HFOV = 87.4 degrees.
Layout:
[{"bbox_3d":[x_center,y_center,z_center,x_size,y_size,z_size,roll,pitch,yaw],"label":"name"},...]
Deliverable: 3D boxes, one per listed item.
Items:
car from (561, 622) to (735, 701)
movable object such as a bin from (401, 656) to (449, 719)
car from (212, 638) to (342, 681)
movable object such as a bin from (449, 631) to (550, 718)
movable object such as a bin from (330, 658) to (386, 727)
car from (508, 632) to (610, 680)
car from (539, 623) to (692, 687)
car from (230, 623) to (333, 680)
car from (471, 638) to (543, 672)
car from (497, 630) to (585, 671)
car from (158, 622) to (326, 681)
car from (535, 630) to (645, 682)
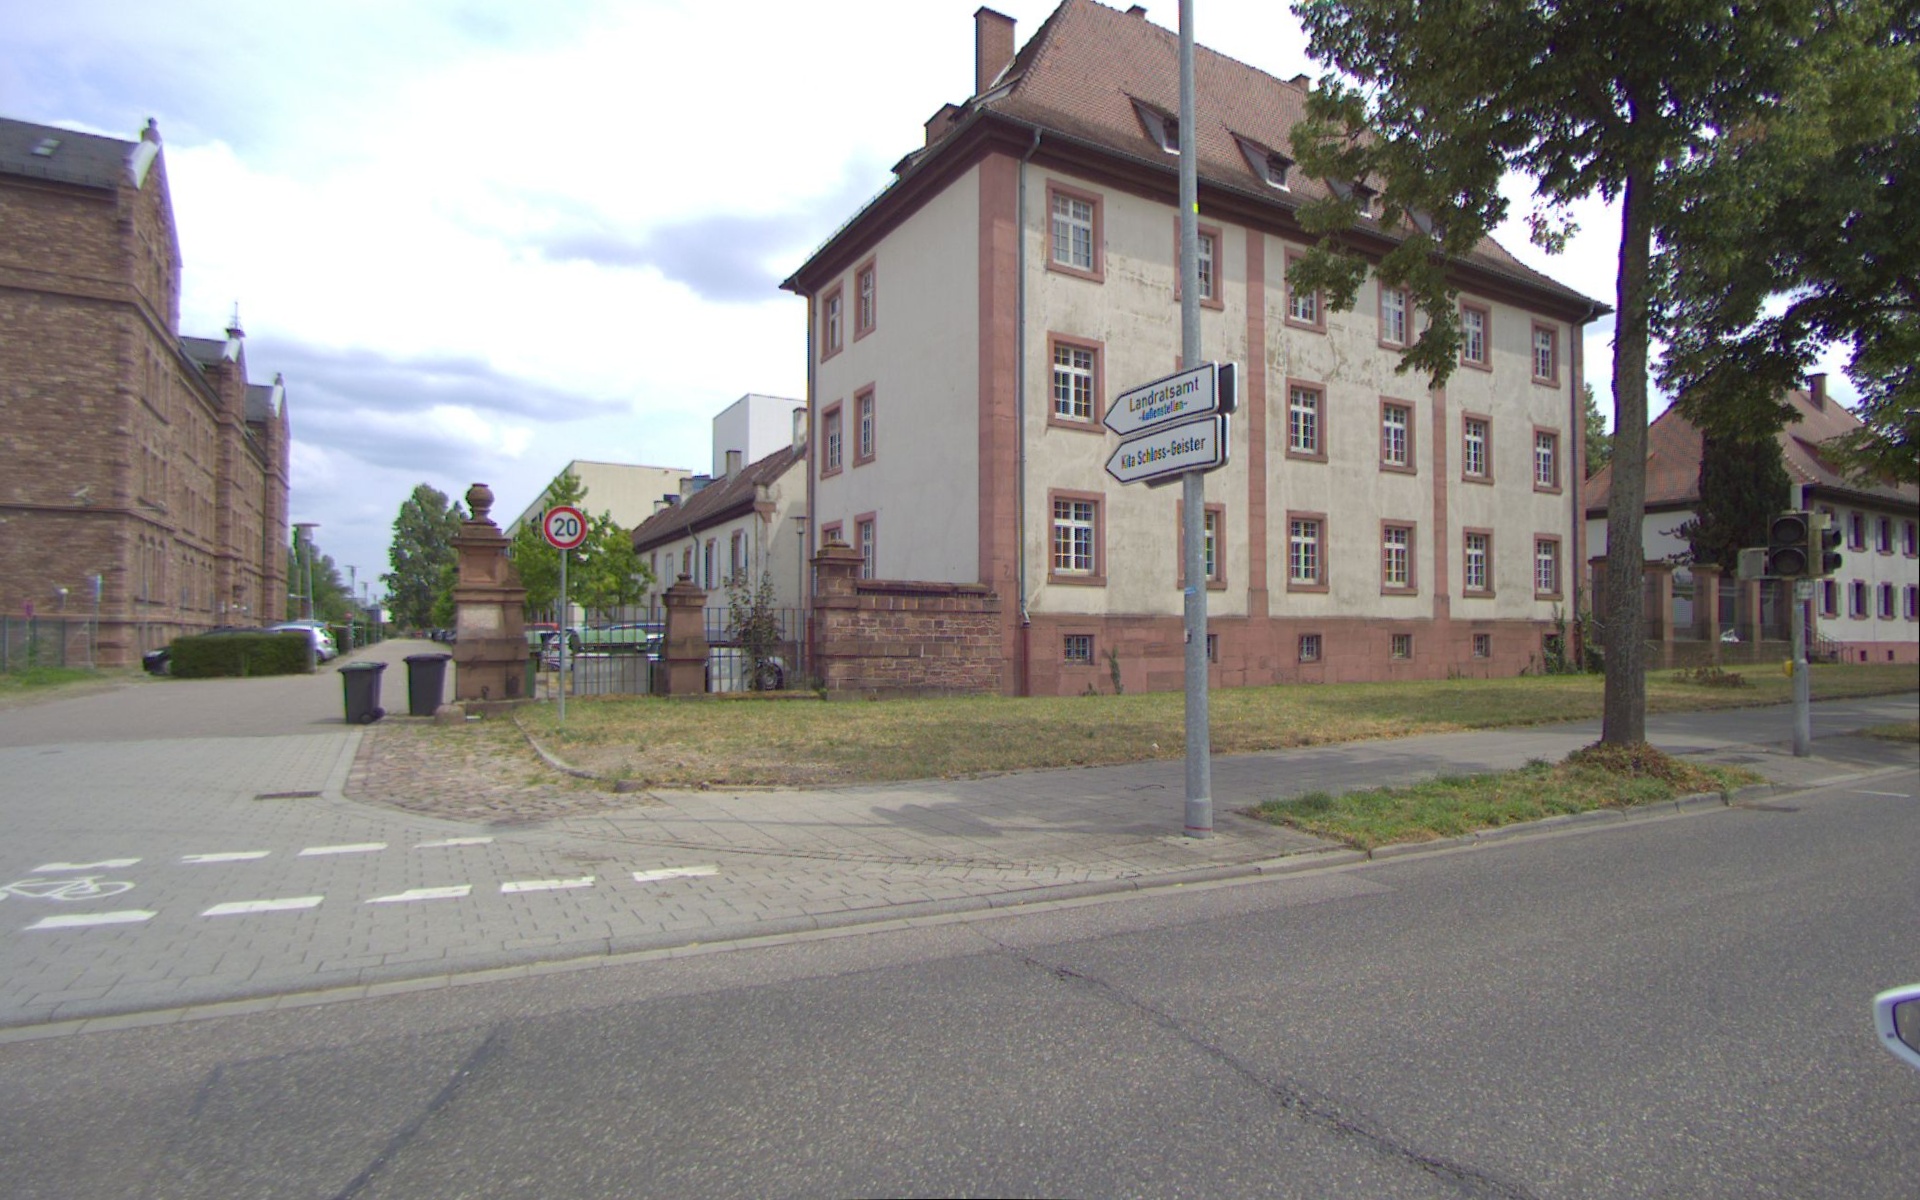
[{"bbox_3d":[-7.914,1.515,25.556,3.910,1.733,1.759,-2,-1,-30],"label":"car"},{"bbox_3d":[-9.329,1.503,17.527,0.701,1.046,1.034,1,-3,-29],"label":"movable object such as a bin"},{"bbox_3d":[-27.164,2.340,40.084,4.115,1.570,1.578,0,-2,-28],"label":"car"},{"bbox_3d":[-8.329,1.318,18.158,1.552,1.487,1.196,1,-3,-29],"label":"movable object such as a bin"},{"bbox_3d":[-9.628,1.454,16.090,0.701,1.046,1.034,1,-3,-29],"label":"movable object such as a bin"},{"bbox_3d":[-16.456,2.264,41.243,3.651,1.733,1.759,-2,-1,-30],"label":"car"},{"bbox_3d":[-10.738,1.682,31.352,4.238,1.733,1.759,-2,-1,-30],"label":"car"},{"bbox_3d":[-33.932,2.531,50.365,4.117,2.749,1.577,0,-2,-30],"label":"car"},{"bbox_3d":[-26.166,3.168,58.051,3.651,1.733,1.577,-2,-1,-30],"label":"car"},{"bbox_3d":[-20.003,2.379,47.974,3.651,1.733,1.759,-2,-1,-30],"label":"car"},{"bbox_3d":[-22.619,1.592,31.851,4.115,1.733,1.578,0,-2,-28],"label":"car"},{"bbox_3d":[-14.067,2.088,38.221,3.651,1.733,1.759,-2,-1,-30],"label":"car"}]
